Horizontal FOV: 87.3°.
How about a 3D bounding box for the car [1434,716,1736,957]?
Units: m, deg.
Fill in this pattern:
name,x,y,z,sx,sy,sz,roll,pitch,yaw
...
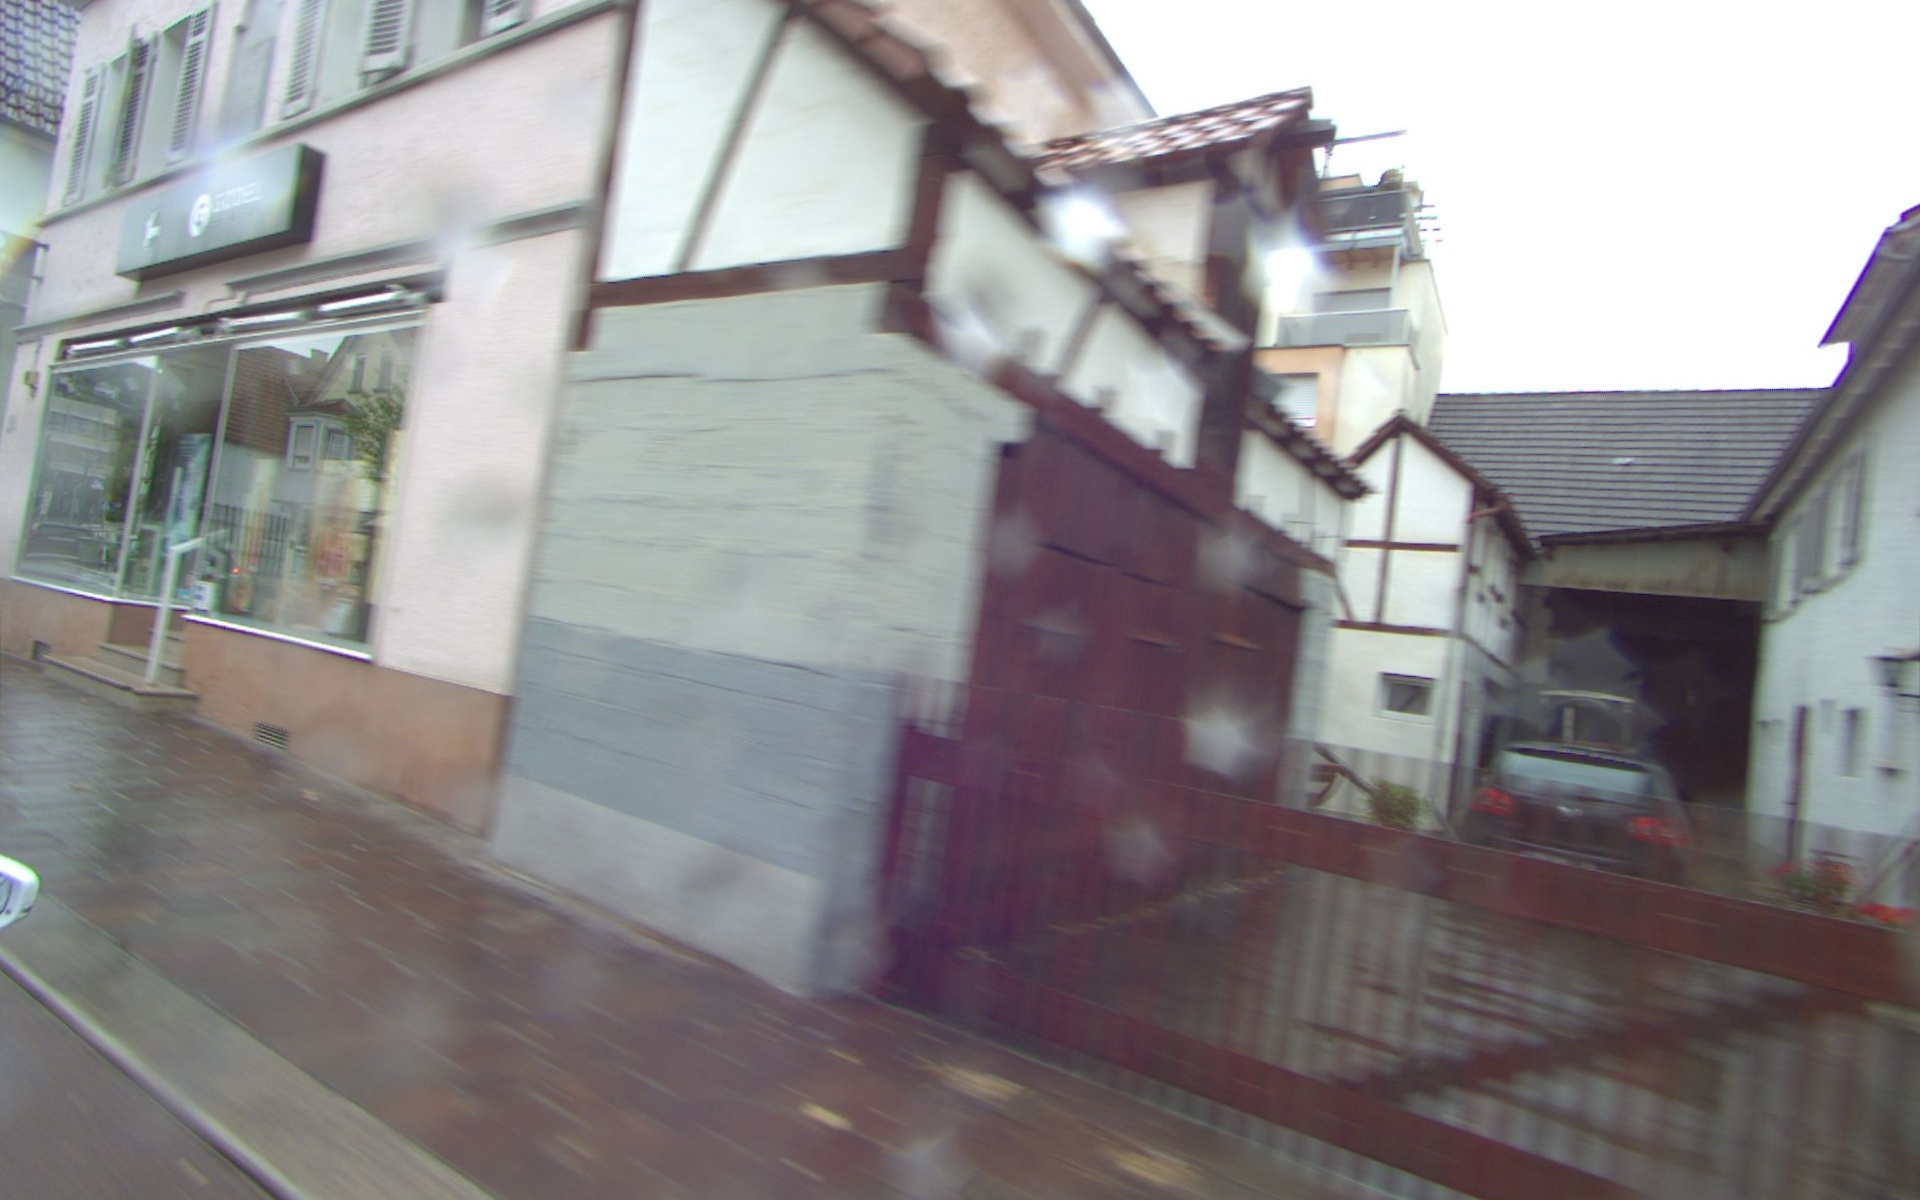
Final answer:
name,x,y,z,sx,sy,sz,roll,pitch,yaw
car,6.094,2.143,9.811,1.969,1.567,3.997,5,-6,34
